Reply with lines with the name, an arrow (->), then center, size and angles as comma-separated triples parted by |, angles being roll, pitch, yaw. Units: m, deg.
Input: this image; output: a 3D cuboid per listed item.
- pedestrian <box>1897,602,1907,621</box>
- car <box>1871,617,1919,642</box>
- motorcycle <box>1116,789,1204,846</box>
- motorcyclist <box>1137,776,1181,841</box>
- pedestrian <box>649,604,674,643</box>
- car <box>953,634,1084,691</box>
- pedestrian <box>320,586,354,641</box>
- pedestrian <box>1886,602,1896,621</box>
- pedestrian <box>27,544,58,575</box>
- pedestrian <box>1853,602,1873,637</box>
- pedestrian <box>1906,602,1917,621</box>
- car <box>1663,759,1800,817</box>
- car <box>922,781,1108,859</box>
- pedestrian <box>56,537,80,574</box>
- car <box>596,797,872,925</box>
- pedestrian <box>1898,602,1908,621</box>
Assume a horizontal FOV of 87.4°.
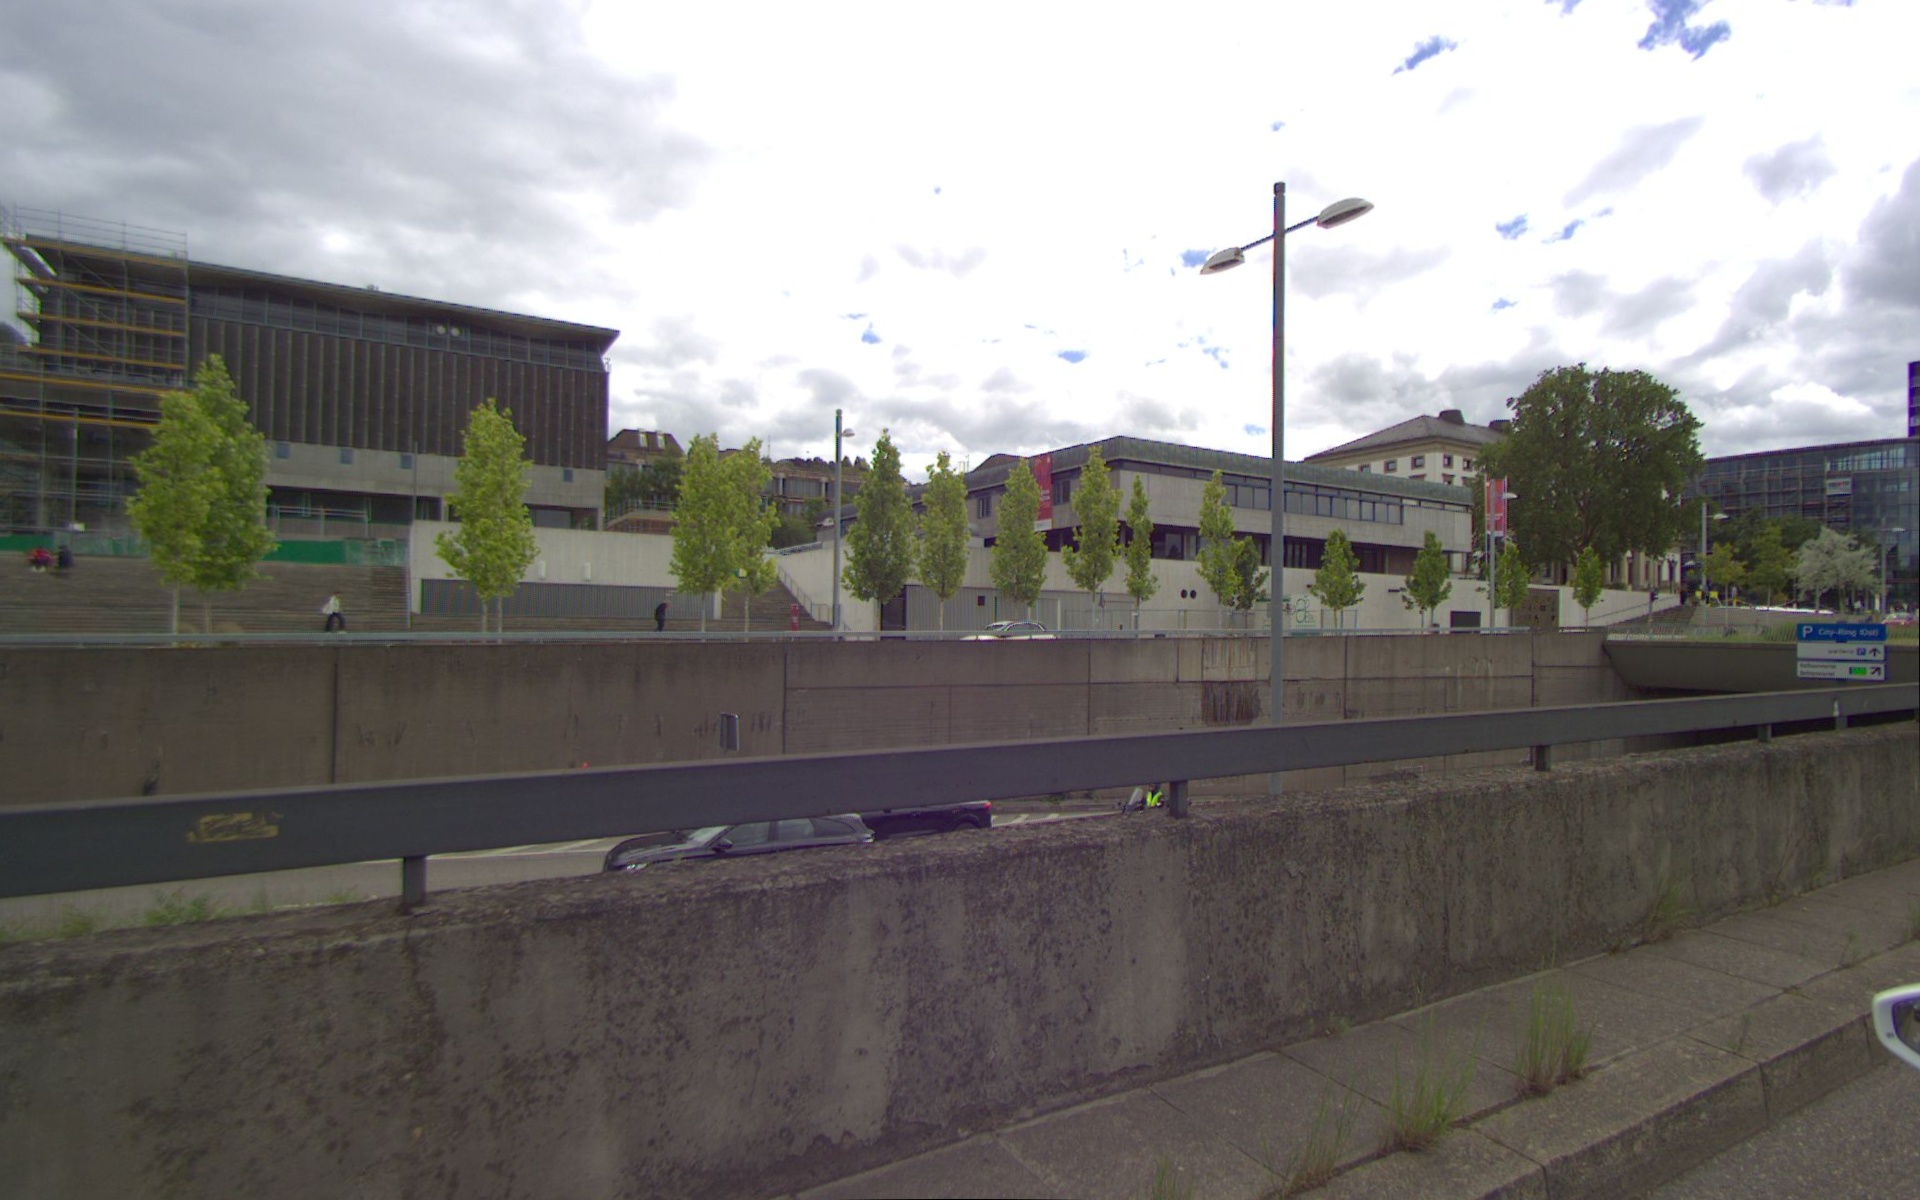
pedestrian -> 102.073, 1.228, 108.851 | 0.730, 2.040, 0.789 | -1, 0, 40
car -> 74.477, 2.297, 79.642 | 4.683, 1.879, 2.163 | 0, -1, -32
motorcycle -> 4.555, 4.915, 22.823 | 2.027, 1.112, 0.682 | 4, -6, -30
motorcyclist -> 4.514, 4.726, 22.818 | 0.710, 1.369, 0.666 | 4, -6, -31
pedestrian -> -13.153, 1.039, 44.288 | 0.777, 1.664, 0.741 | -1, 0, 5
car -> 1.954, 2.069, 33.555 | 3.954, 1.786, 1.985 | 2, -4, -31
pedestrian -> -23.642, 0.510, 38.117 | 0.777, 2.040, 0.741 | -1, 0, 9
pedestrian -> 101.488, 1.217, 109.485 | 0.730, 2.040, 1.109 | -1, 0, 40
pedestrian -> -35.982, -1.585, 39.408 | 0.761, 0.957, 0.718 | 0, 24, -36
pedestrian -> 53.918, 1.149, 59.961 | 0.623, 2.040, 0.724 | -6, 3, -37
pedestrian -> 103.532, 1.291, 109.307 | 0.730, 2.040, 1.109 | -1, 0, 40
car -> 27.072, 6.524, 35.210 | 5.191, 1.659, 1.985 | 3, -8, -32
car -> 1.305, 5.004, 23.199 | 3.962, 1.345, 1.796 | 5, -4, -31
pedestrian -> -35.328, -1.755, 39.781 | 0.619, 1.257, 0.665 | 2, 22, -36
car -> -3.714, 4.227, 16.722 | 4.101, 1.508, 1.766 | 4, -4, -31
pedestrian -> 103.578, 1.280, 110.305 | 0.730, 2.040, 0.789 | -1, 0, 40
